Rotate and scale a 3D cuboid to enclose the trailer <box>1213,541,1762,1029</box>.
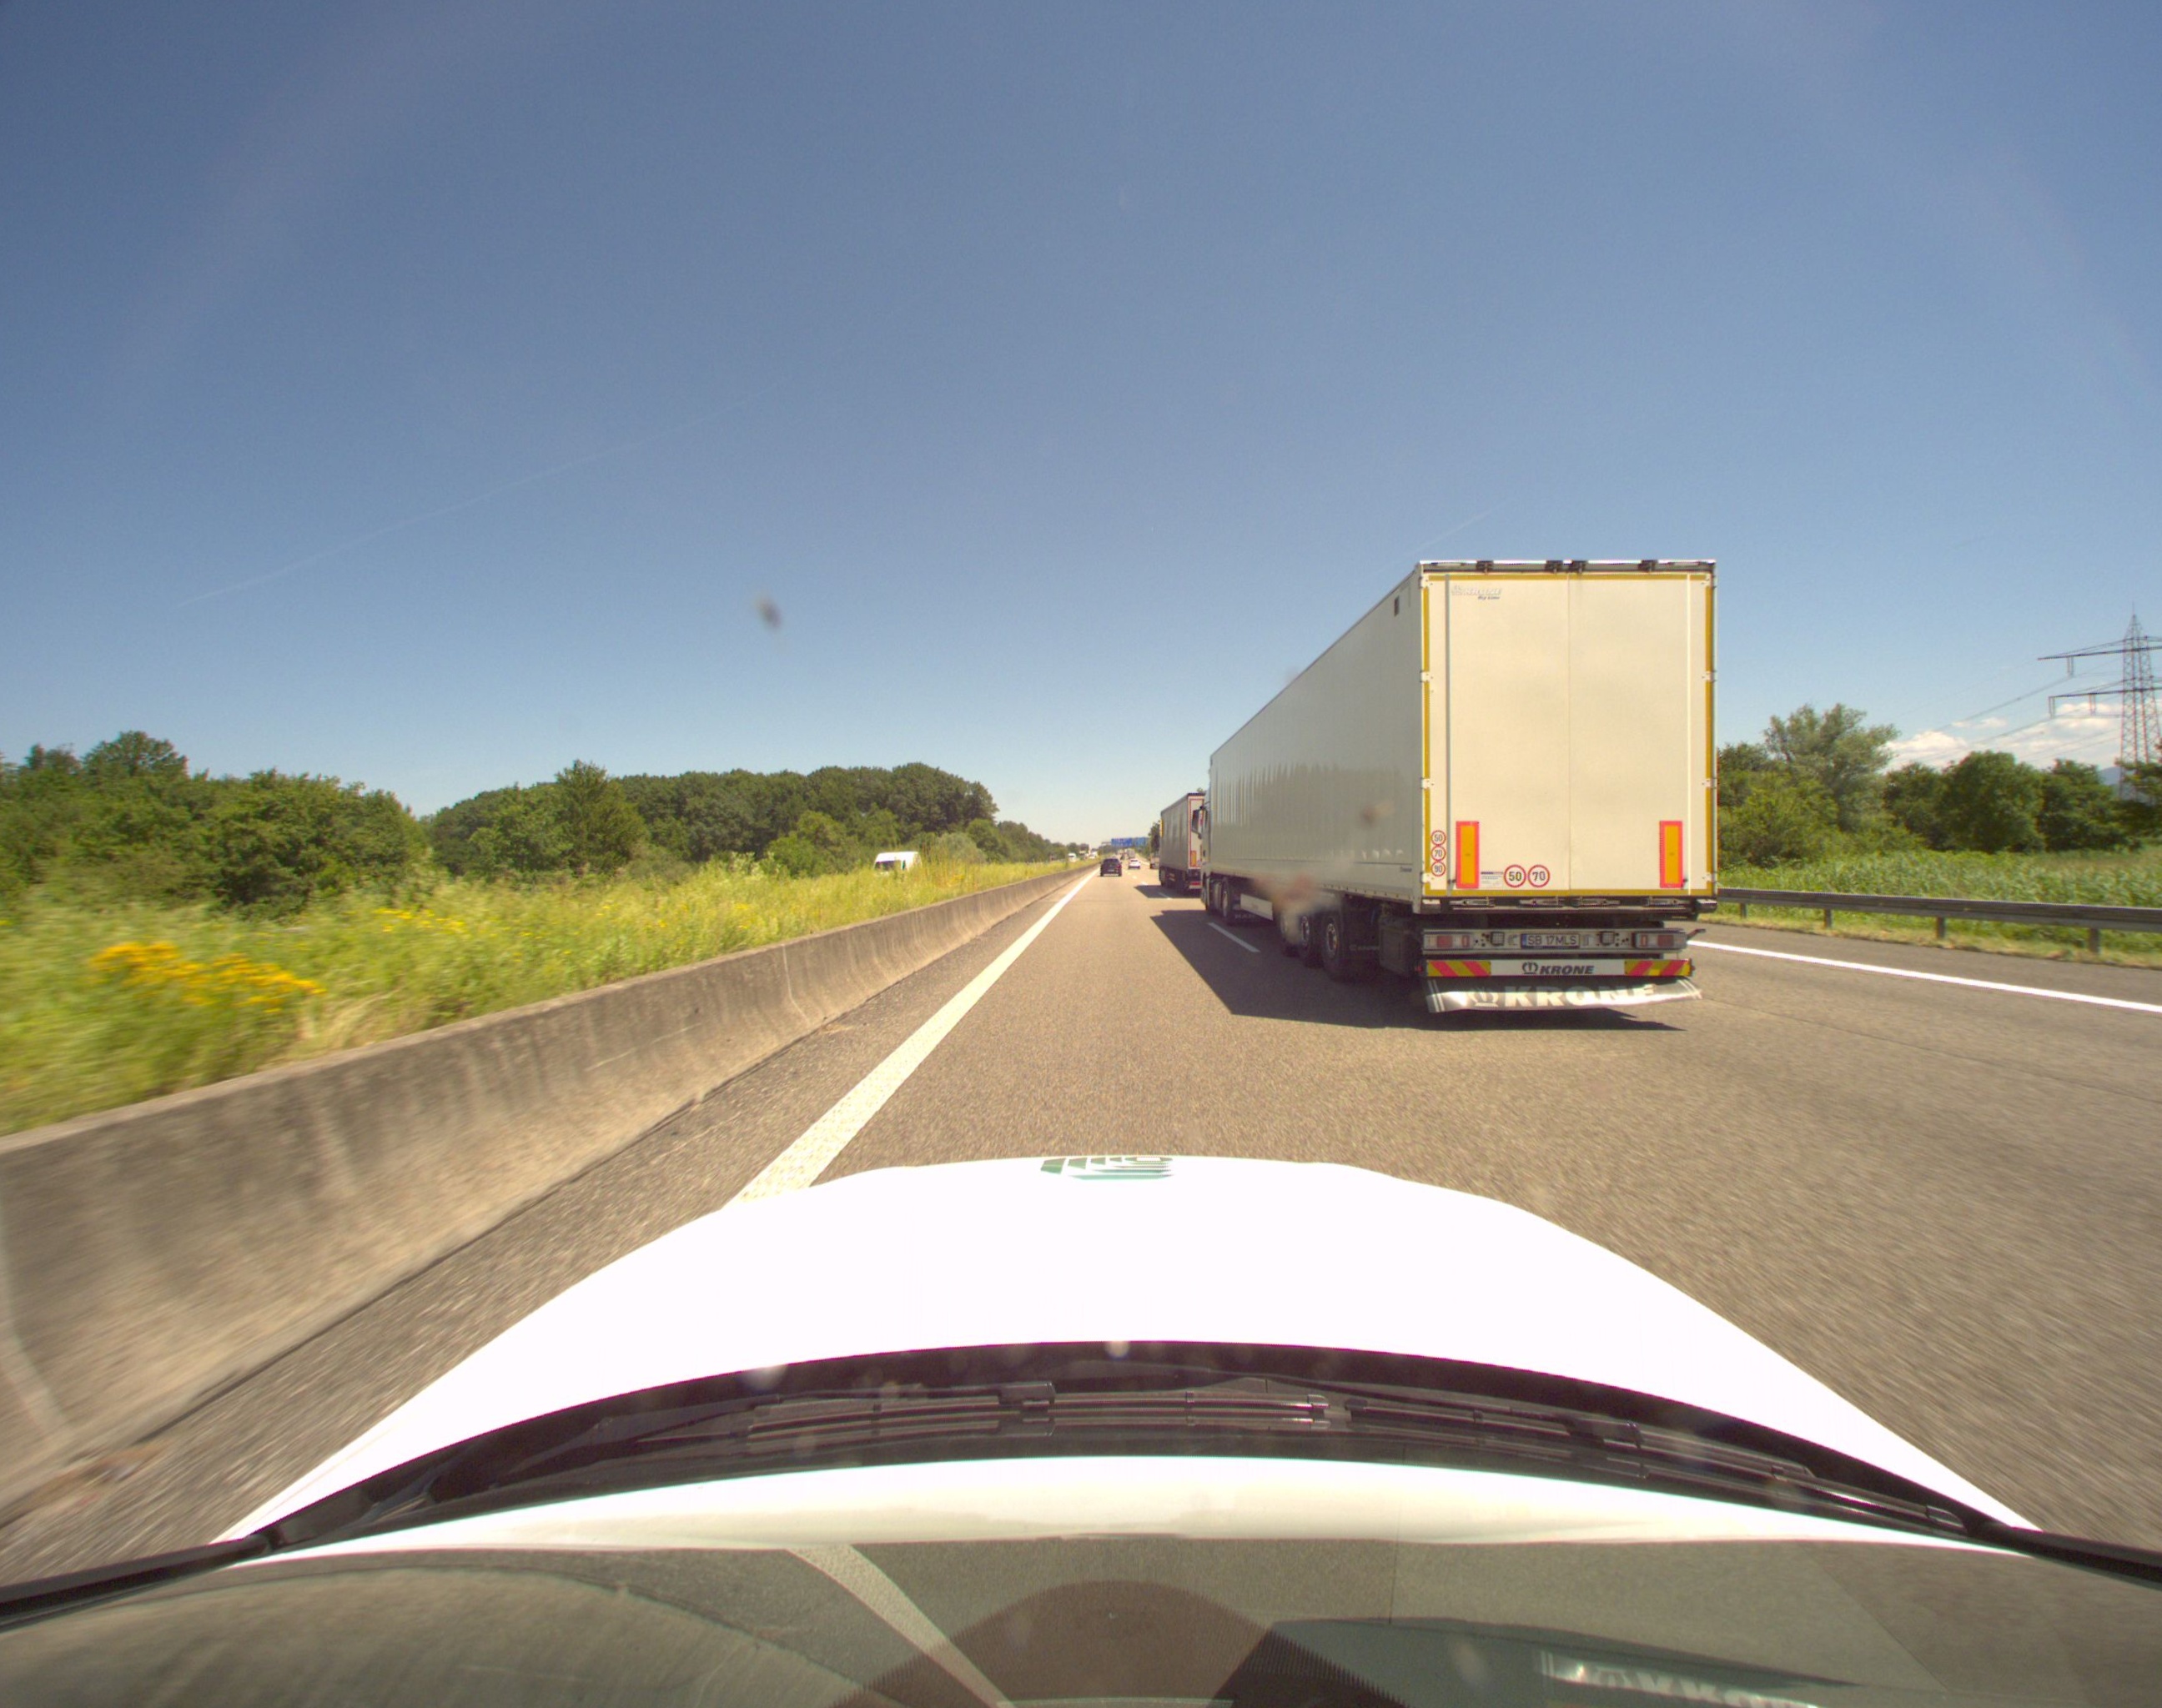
[{"bbox_3d":[4.388,-0.542,13.070,2.784,4.035,12.570,-1,0,1],"label":"trailer"}]

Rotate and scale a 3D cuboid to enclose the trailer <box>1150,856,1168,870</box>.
[{"bbox_3d":[12.118,1.357,126.485,2.412,2.013,6.035,-1,0,1],"label":"trailer"}]

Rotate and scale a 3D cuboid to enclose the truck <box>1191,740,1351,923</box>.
[{"bbox_3d":[4.595,-0.486,20.959,2.789,4.007,6.022,-1,0,1],"label":"truck"}]

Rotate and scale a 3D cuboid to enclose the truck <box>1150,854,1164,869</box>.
[{"bbox_3d":[12.250,1.163,131.851,1.986,2.374,4.646,-1,0,1],"label":"truck"}]

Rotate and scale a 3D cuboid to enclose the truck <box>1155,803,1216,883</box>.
[{"bbox_3d":[5.644,-0.503,44.929,2.690,4.094,6.456,-1,-1,2],"label":"truck"}]

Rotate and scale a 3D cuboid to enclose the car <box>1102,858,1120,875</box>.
[{"bbox_3d":[2.770,1.166,75.846,1.654,1.549,3.783,-1,0,1],"label":"car"}]

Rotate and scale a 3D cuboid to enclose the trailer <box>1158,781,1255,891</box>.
[{"bbox_3d":[5.361,-0.580,37.617,2.697,4.068,14.752,-1,-1,2],"label":"trailer"}]

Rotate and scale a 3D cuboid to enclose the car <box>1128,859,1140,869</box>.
[{"bbox_3d":[8.346,1.532,129.237,1.733,1.486,4.002,-1,0,2],"label":"car"}]

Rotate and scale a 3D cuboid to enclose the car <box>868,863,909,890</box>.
[{"bbox_3d":[-15.240,1.713,64.670,1.875,2.014,5.077,-1,0,2],"label":"car"}]

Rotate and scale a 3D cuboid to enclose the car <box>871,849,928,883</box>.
[{"bbox_3d":[-11.719,0.753,53.047,1.986,2.014,6.558,1,0,2],"label":"car"}]
